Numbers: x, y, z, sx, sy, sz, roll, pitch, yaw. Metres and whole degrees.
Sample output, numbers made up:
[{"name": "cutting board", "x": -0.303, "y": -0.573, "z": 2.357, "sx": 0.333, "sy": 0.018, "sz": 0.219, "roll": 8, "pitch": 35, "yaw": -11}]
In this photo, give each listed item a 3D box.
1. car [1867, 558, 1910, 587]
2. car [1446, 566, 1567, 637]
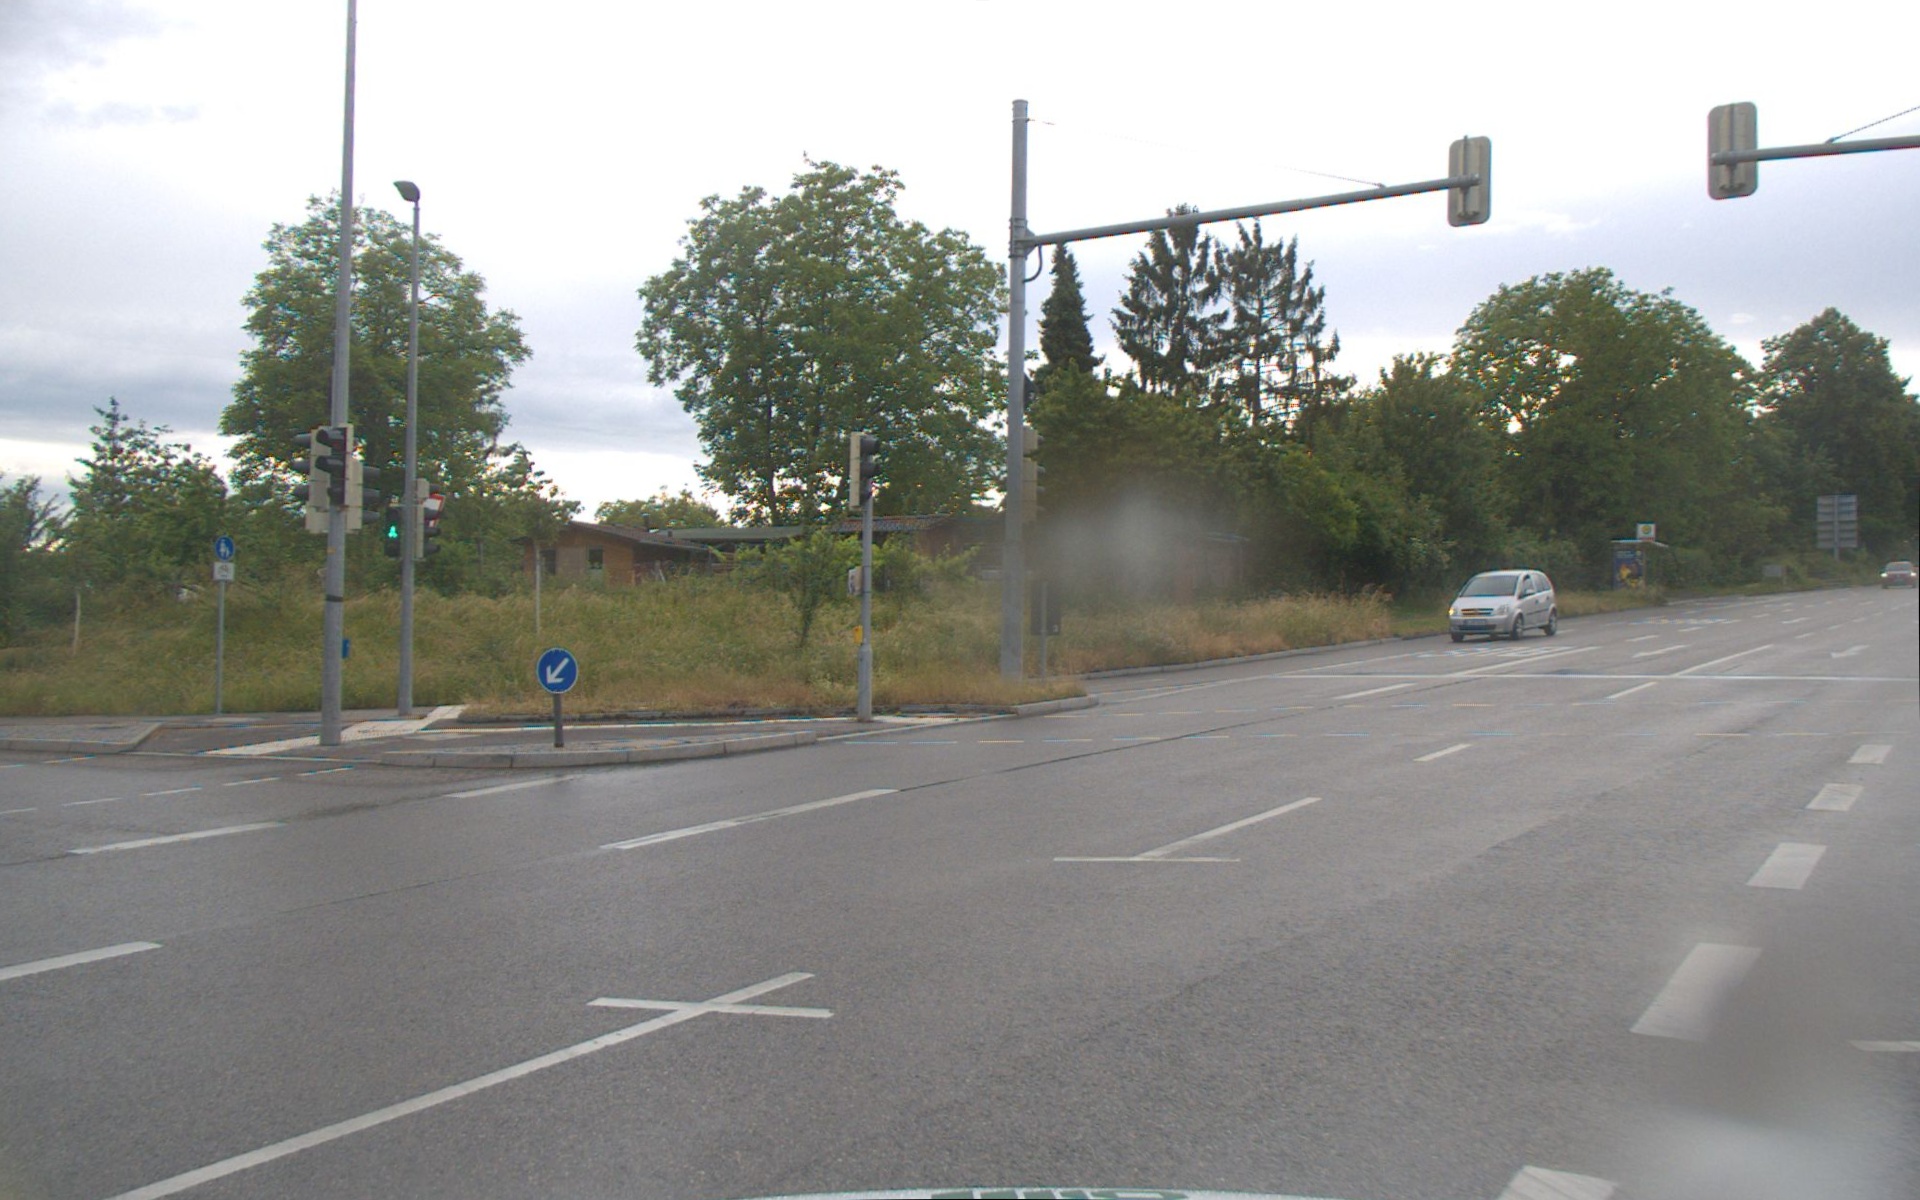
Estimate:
[{"name": "car", "x": 54.023, "y": -1.593, "z": 96.192, "sx": 1.860, "sy": 1.624, "sz": 4.476, "roll": 0, "pitch": 1, "yaw": 33}, {"name": "car", "x": 13.493, "y": -0.003, "z": 40.679, "sx": 1.737, "sy": 1.624, "sz": 4.476, "roll": 0, "pitch": 1, "yaw": 33}]
